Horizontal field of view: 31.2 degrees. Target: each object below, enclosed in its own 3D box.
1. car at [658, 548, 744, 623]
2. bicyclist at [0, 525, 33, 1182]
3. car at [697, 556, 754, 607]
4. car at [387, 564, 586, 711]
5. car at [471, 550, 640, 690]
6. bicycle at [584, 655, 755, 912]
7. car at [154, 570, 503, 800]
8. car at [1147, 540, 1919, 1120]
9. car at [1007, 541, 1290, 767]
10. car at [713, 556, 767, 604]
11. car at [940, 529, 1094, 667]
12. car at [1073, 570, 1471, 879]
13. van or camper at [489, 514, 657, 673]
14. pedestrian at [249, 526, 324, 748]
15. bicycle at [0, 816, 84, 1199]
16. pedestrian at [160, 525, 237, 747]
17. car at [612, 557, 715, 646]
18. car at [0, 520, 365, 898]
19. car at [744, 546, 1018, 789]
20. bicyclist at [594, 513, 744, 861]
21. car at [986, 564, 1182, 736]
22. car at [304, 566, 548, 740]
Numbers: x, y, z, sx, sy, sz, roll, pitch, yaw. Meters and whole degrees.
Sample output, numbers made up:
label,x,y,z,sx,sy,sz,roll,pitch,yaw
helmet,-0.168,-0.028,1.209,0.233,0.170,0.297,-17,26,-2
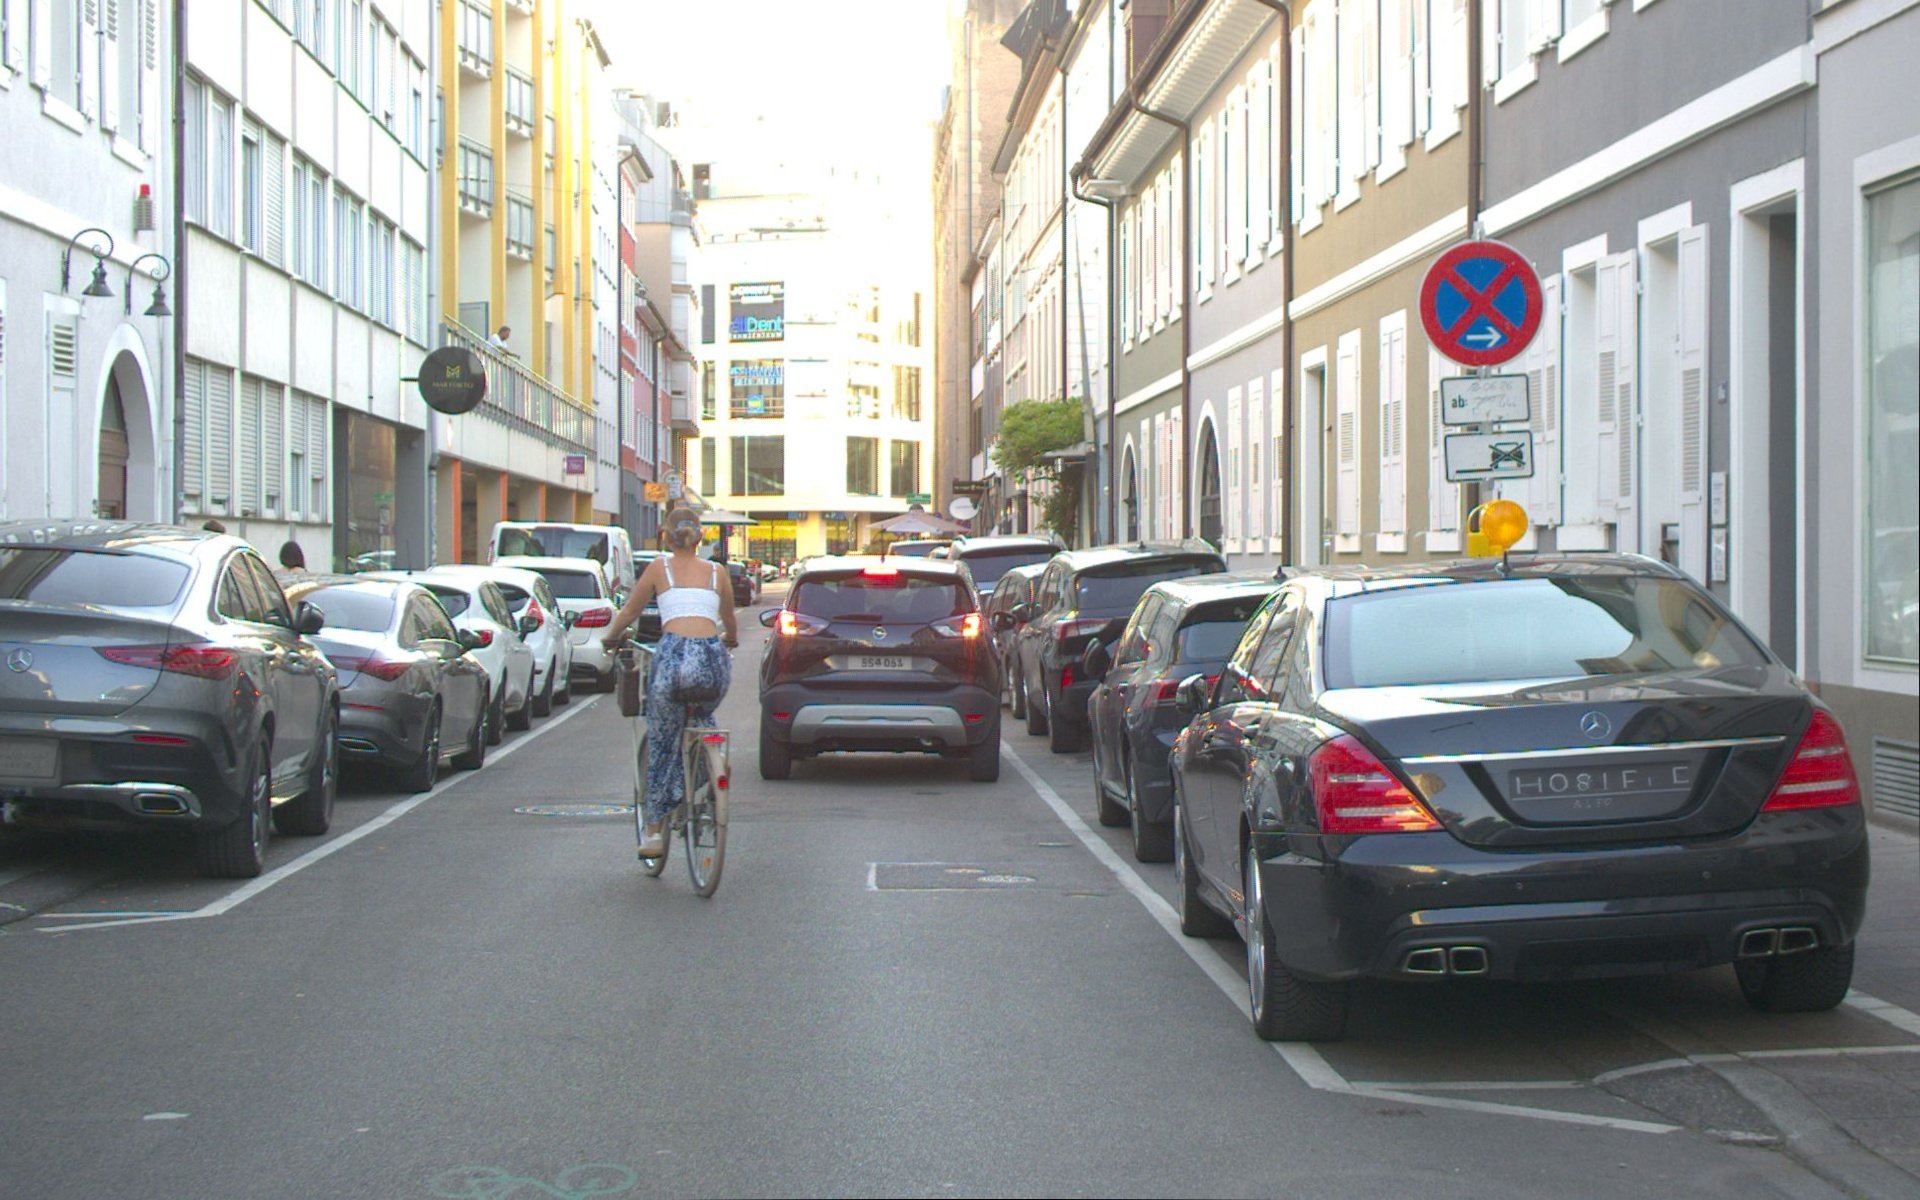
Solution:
label,x,y,z,sx,sy,sz,roll,pitch,yaw
car,-5.576,-0.331,74.256,1.653,1.555,3.606,1,1,-2
bicyclist,-2.291,0.525,7.036,0.605,1.365,0.621,1,0,0
car,-7.395,-0.603,108.597,1.653,1.555,3.606,1,1,-2
car,-4.872,0.349,35.756,1.653,1.406,3.606,1,1,-2
car,-4.753,0.204,40.740,1.653,1.555,3.606,1,1,-2
bicycle,-1.372,0.819,15.988,0.613,1.078,1.810,0,1,-10
car,-4.368,0.533,24.394,1.918,1.429,4.294,1,1,-4
car,1.782,0.620,12.193,1.819,1.525,5.071,-3,1,-1
car,1.512,0.400,29.106,1.918,1.732,4.154,1,1,-3
car,-7.383,-0.673,115.370,1.653,1.555,3.606,1,1,-2
car,0.643,-0.044,41.426,1.653,1.555,3.606,1,1,-2
car,1.609,0.600,19.006,1.676,1.481,4.000,1,1,-2
van or camper,-5.190,-0.113,46.575,1.844,2.006,4.678,1,1,-2
pedestrian,-6.134,0.331,31.314,0.610,2.007,0.450,1,0,-5
bicycle,-2.292,0.965,6.876,0.613,0.929,1.886,1,1,-1
pedestrian,-6.945,0.322,31.369,0.610,2.007,0.450,1,0,-5
car,-5.423,-0.001,63.259,1.653,1.555,3.606,1,1,-2
car,-4.390,0.461,17.952,1.997,1.701,4.536,1,1,-3
car,-0.621,0.436,25.374,1.819,1.612,4.000,1,1,-2
bicyclist,-1.351,0.390,15.878,0.620,1.569,0.684,0,0,-10
car,1.168,0.451,33.852,1.653,1.555,3.606,1,1,-2
car,-4.693,0.428,30.668,1.653,1.406,3.903,1,1,-2
